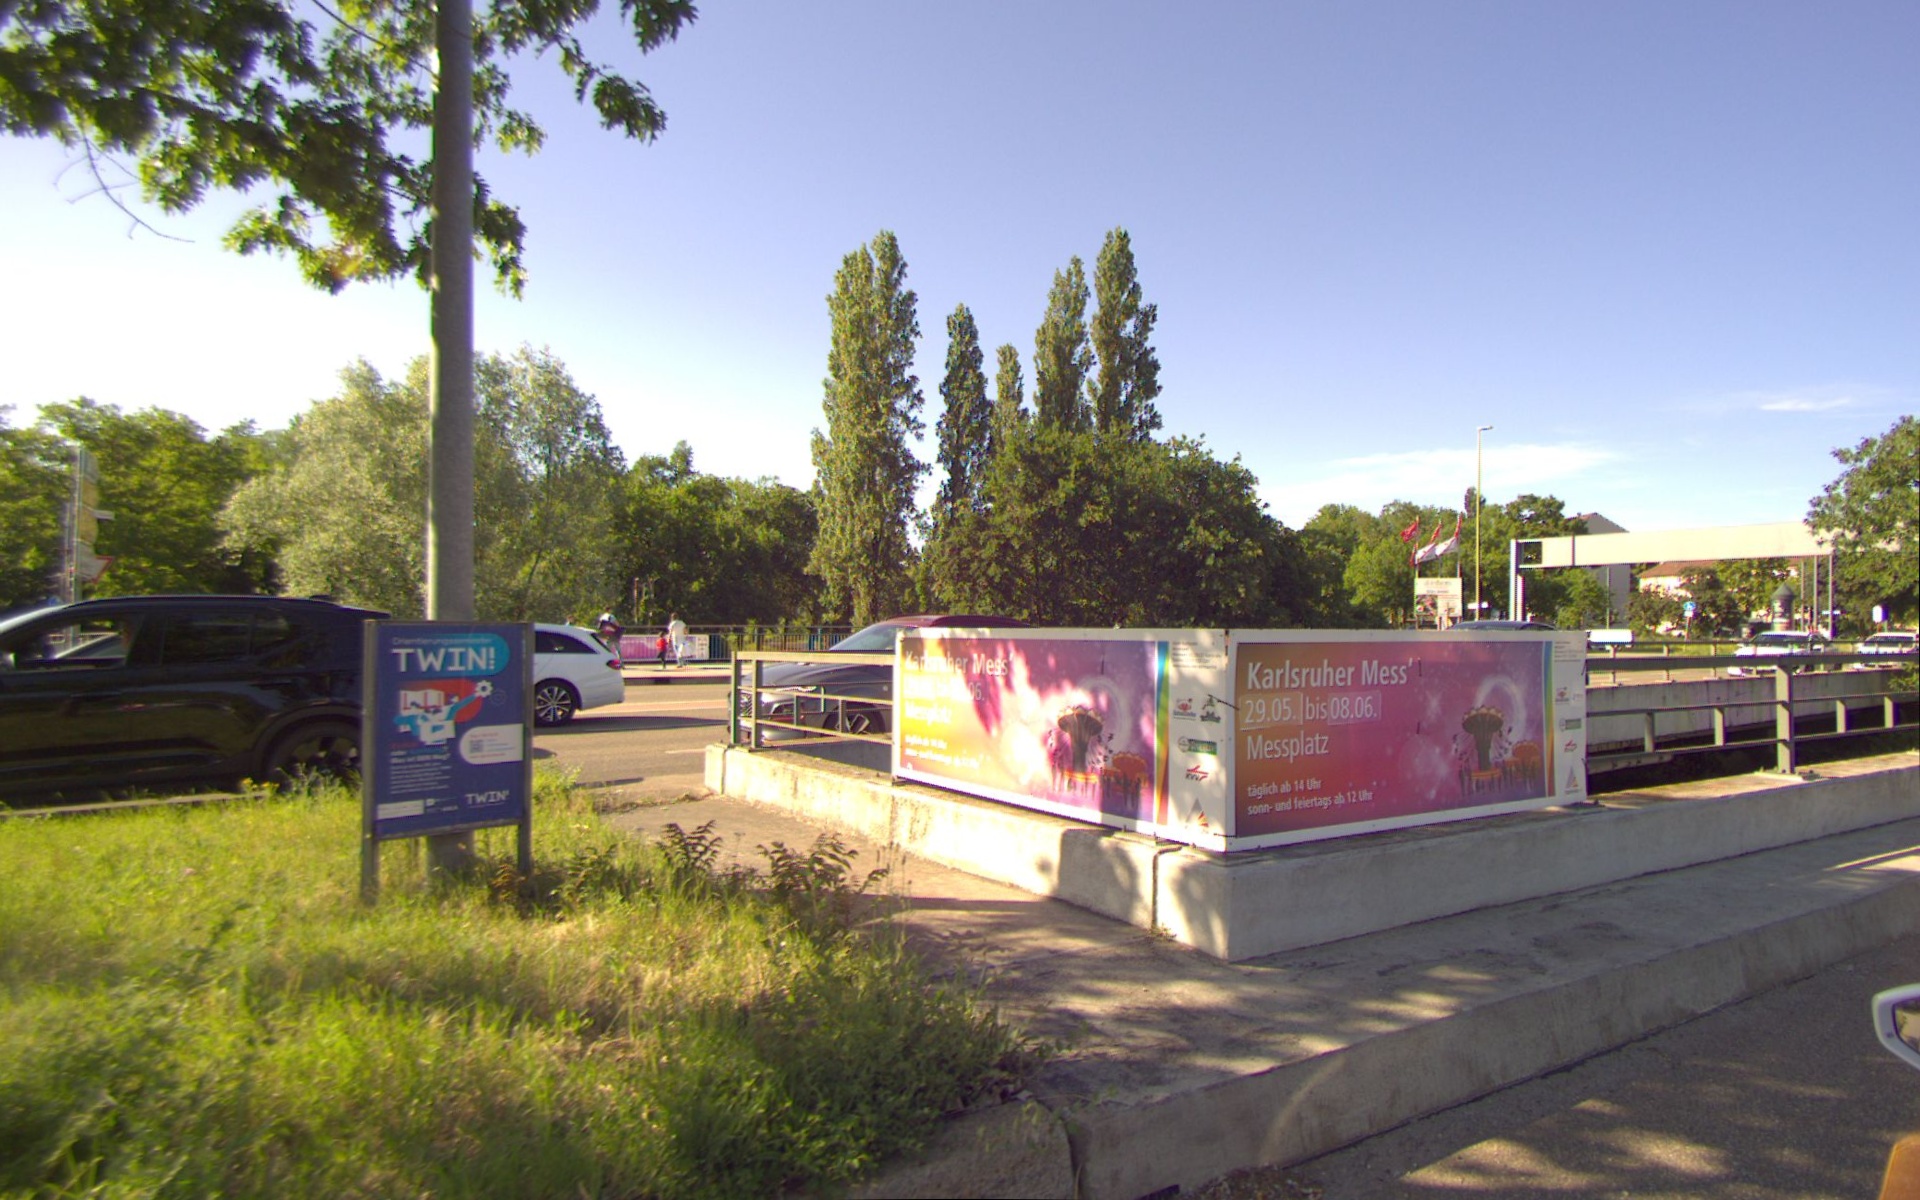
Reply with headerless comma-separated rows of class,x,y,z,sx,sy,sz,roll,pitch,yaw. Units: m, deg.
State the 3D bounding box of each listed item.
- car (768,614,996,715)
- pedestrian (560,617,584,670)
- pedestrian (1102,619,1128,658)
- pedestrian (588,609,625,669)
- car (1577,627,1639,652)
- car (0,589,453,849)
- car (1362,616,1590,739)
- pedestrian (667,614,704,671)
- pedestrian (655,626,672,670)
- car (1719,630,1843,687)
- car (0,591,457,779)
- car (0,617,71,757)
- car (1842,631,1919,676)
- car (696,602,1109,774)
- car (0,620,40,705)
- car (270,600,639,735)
car,-1.390,1.101,18.322,3.702,1.644,1.924,1,-1,-35
pedestrian,-11.691,1.298,30.246,0.527,1.543,0.543,3,-1,-30
pedestrian,6.394,1.584,41.489,0.767,1.522,0.670,3,-1,-17
pedestrian,-10.317,1.139,29.338,0.814,1.688,0.786,3,-1,-30
car,54.437,3.296,84.437,4.184,2.040,1.992,-1,-2,39
car,-6.323,0.766,7.339,4.460,1.644,1.924,1,-1,-35
car,9.625,1.342,18.649,4.289,2.040,1.981,1,-2,-34
pedestrian,-8.303,1.271,30.364,0.814,1.651,0.786,3,-1,-30
pedestrian,-8.838,1.422,29.930,0.346,1.267,0.445,3,-1,-30
car,23.749,1.649,29.038,3.958,1.520,1.733,1,-2,-34
car,-7.792,0.769,10.332,4.460,1.644,1.924,1,-1,-35
car,-12.387,0.918,10.447,4.460,1.484,1.924,1,-1,-35
car,33.221,1.869,35.823,3.958,1.520,1.733,1,-2,-34
car,-0.569,0.881,11.659,4.460,1.644,1.924,1,-1,-35
car,-19.723,1.135,18.073,4.259,1.555,1.779,1,-3,-17
car,-7.096,0.866,14.292,4.460,1.644,1.924,1,-1,-35
